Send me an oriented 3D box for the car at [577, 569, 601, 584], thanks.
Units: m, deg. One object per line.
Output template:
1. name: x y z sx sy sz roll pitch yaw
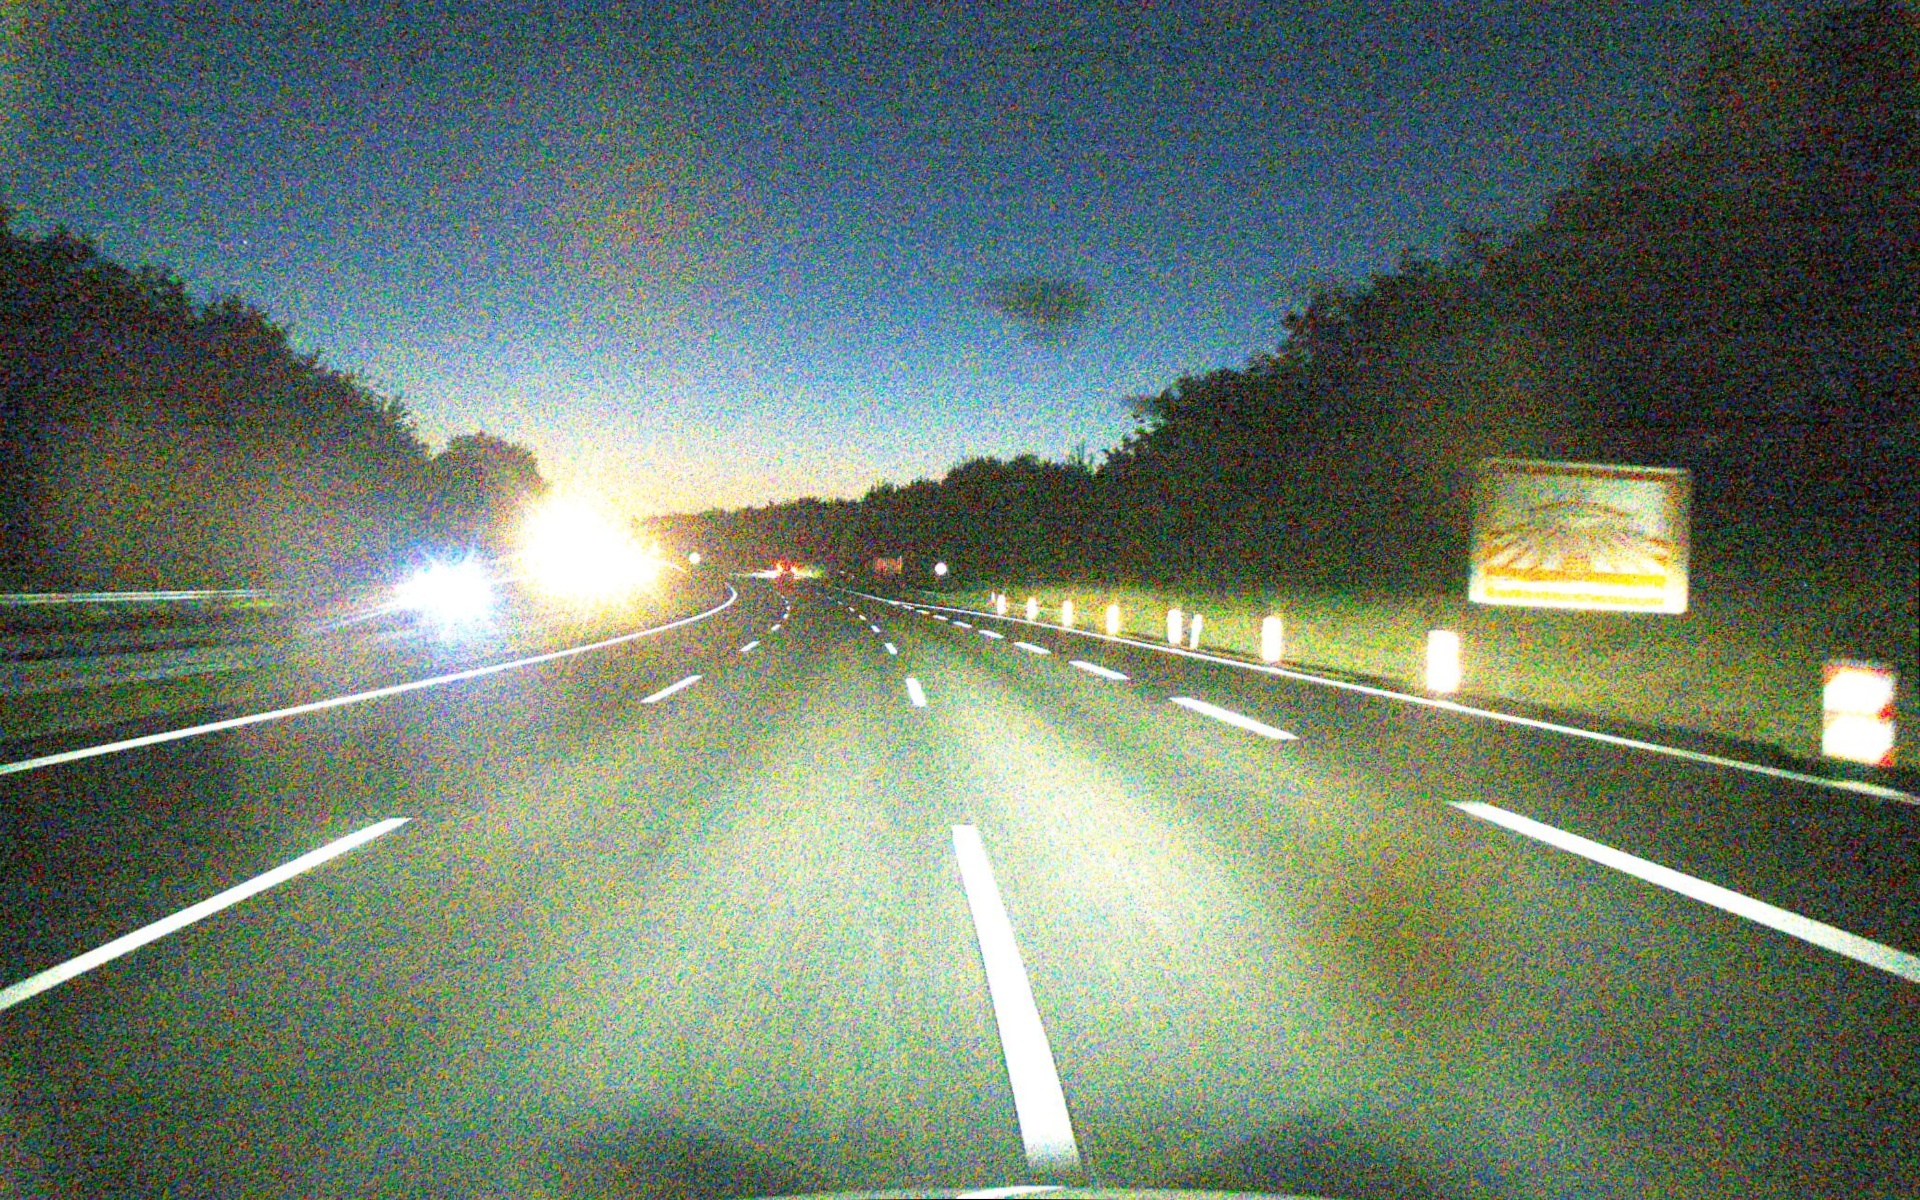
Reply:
1. car: -38.643 -2.455 172.221 1.955 1.534 3.995 1 1 -6

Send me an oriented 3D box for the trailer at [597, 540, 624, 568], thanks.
1. trailer: -53.908 -7.063 255.429 3.534 4.161 14.090 1 1 -10

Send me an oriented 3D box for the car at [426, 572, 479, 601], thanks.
1. car: -28.045 -0.774 91.500 1.955 1.534 4.310 1 0 -6

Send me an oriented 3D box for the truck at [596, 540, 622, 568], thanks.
1. truck: -52.822 -6.894 249.255 3.524 4.170 5.982 1 1 -9

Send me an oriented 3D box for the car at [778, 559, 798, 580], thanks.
1. car: -23.233 -4.147 223.342 2.480 2.597 6.041 3 1 -8
